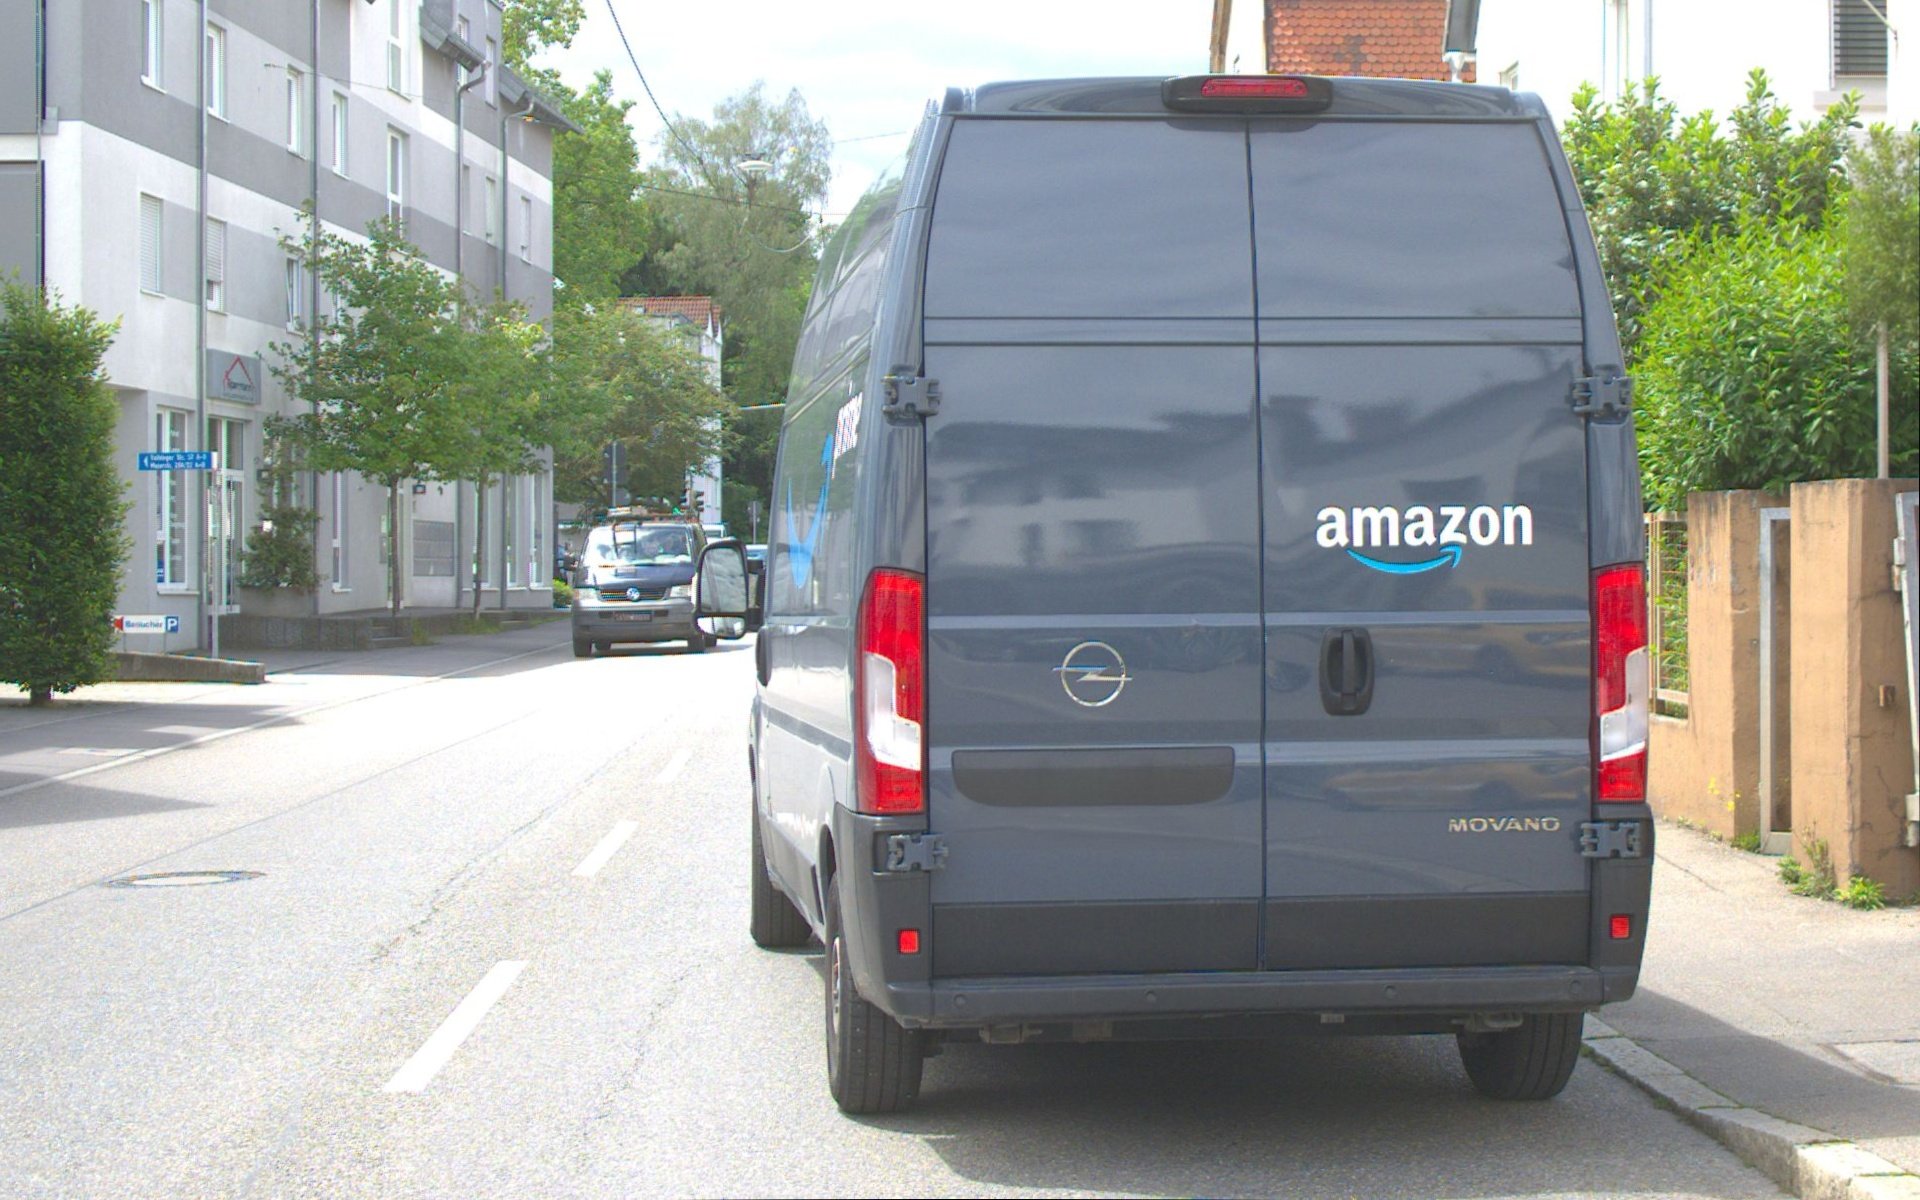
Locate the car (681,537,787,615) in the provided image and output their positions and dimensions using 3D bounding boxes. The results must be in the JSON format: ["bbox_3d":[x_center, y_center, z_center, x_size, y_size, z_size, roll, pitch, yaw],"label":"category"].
[{"bbox_3d":[-4.741,-0.527,72.637,2.105,1.590,4.650,0,1,-2],"label":"car"}]

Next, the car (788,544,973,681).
[{"bbox_3d":[-0.841,0.099,38.635,1.896,1.448,3.968,0,1,1],"label":"car"}]

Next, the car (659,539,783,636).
[{"bbox_3d":[-4.338,-0.263,63.016,2.105,1.704,4.766,0,1,-2],"label":"car"}]

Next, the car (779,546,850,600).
[{"bbox_3d":[-4.368,-0.836,103.556,2.105,1.590,4.650,0,1,-2],"label":"car"}]

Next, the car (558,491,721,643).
[{"bbox_3d":[-4.678,-0.509,50.753,2.105,2.114,4.766,0,1,-2],"label":"car"}]

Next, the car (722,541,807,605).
[{"bbox_3d":[-5.049,-0.716,89.166,2.105,1.590,4.650,0,1,-2],"label":"car"}]

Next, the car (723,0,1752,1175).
[{"bbox_3d":[0.491,-0.088,10.957,2.252,2.786,5.570,0,1,-6],"label":"car"}]

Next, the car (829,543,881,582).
[{"bbox_3d":[-4.342,-1.570,142.055,2.105,1.590,4.650,0,1,-2],"label":"car"}]
